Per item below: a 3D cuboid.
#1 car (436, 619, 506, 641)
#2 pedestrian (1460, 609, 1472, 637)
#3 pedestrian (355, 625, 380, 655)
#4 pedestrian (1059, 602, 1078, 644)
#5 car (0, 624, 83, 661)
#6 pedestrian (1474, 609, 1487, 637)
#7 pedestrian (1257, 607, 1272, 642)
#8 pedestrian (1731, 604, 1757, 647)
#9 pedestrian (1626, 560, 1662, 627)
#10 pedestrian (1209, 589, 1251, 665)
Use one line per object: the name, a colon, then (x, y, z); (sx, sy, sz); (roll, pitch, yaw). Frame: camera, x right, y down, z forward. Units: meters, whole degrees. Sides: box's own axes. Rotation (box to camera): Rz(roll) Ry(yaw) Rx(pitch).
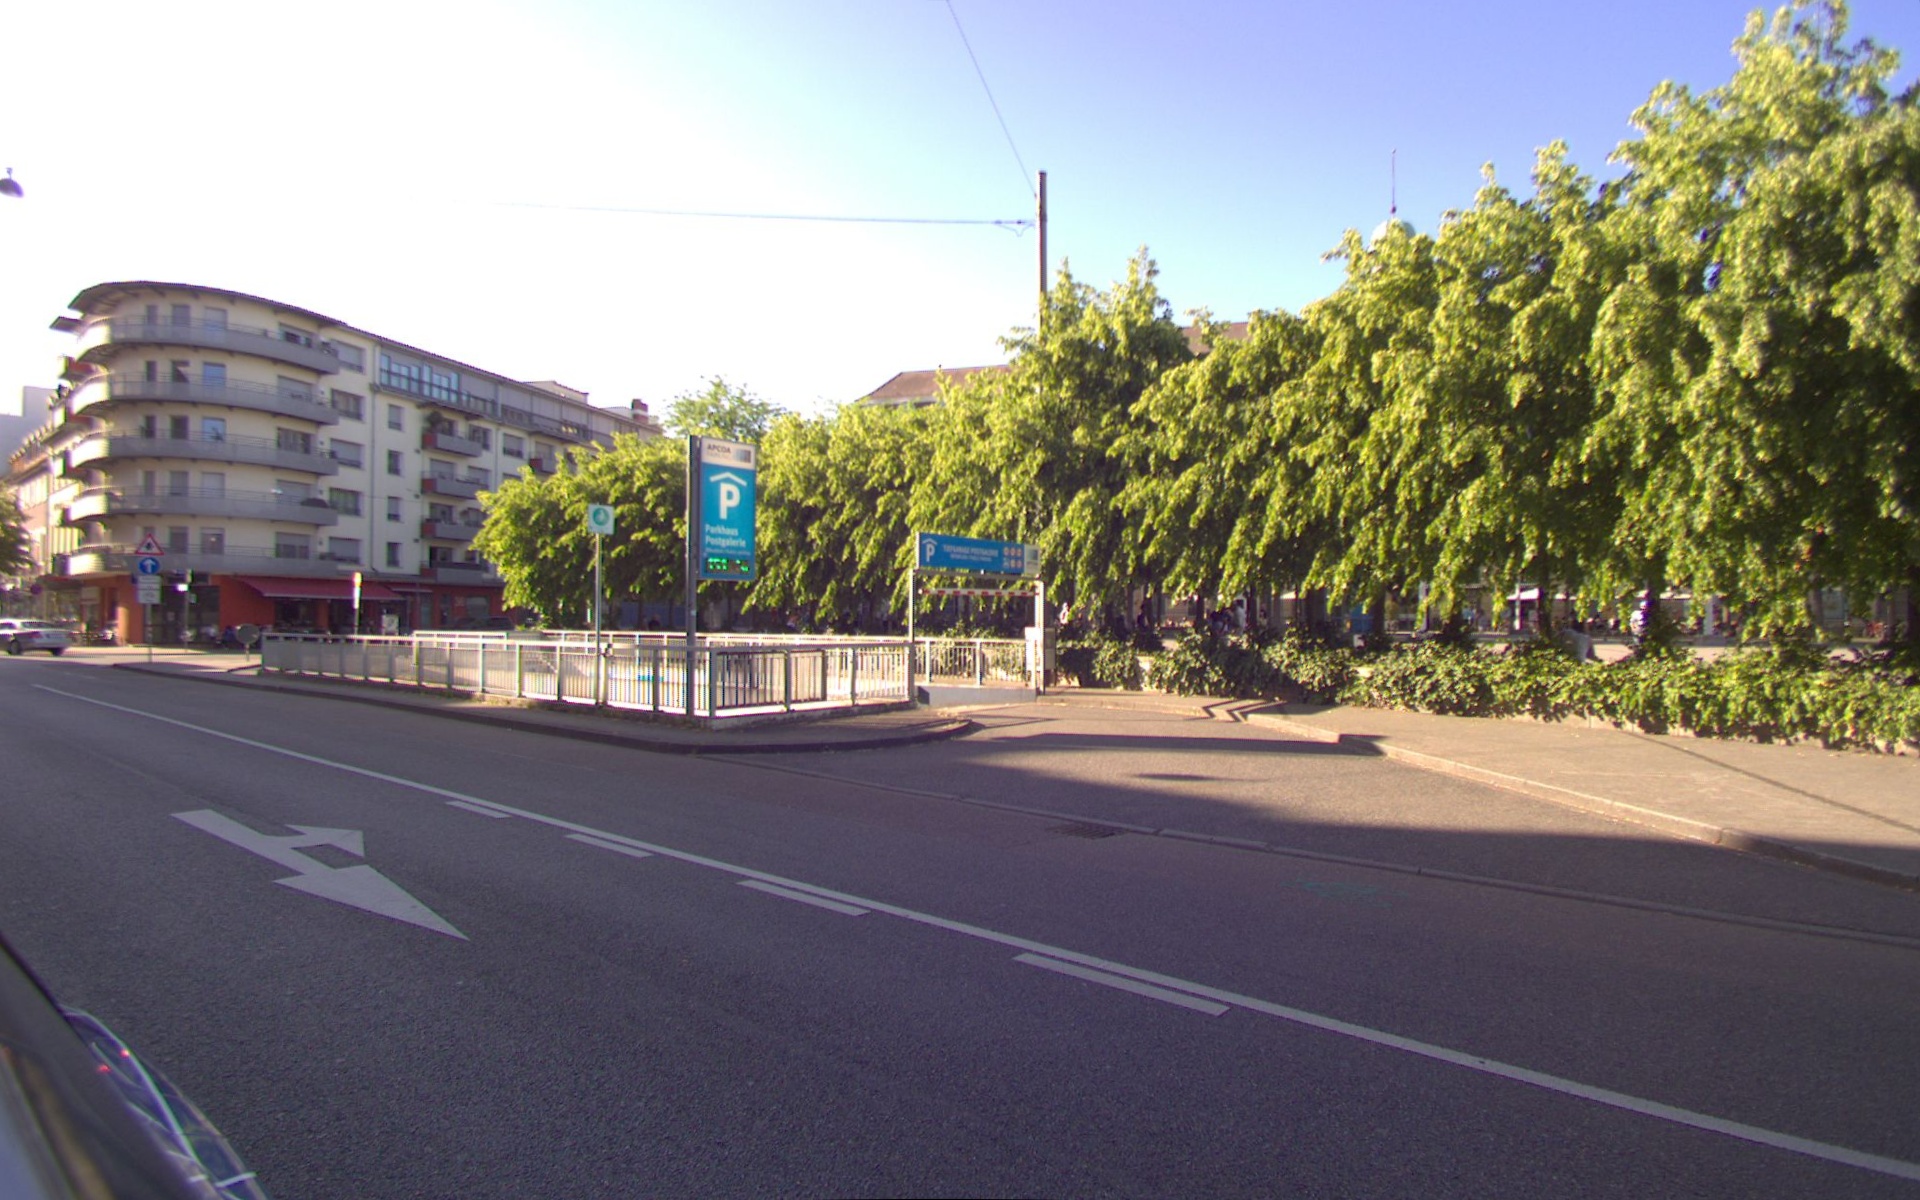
car: (-30.500, 1.879, 63.213); (1.742, 1.311, 3.977); (-1, -1, 17)
pedestrian: (32.011, 1.440, 63.982); (0.643, 1.734, 0.603); (-1, 0, 26)
pedestrian: (-32.599, 2.200, 55.678); (0.877, 1.607, 0.861); (-1, 0, 2)
pedestrian: (4.516, 0.958, 42.117); (0.604, 1.734, 0.642); (-1, 0, 21)
car: (-38.113, 1.688, 40.952); (4.223, 1.363, 1.817); (1, -2, 14)
pedestrian: (32.392, 1.410, 62.970); (0.643, 1.734, 0.603); (-1, 0, 26)
pedestrian: (15.356, 1.245, 51.015); (0.606, 1.734, 0.640); (-1, 0, 31)
pedestrian: (31.687, 1.032, 40.900); (0.641, 1.734, 0.605); (-1, 0, 18)
pedestrian: (17.994, -0.178, 26.621); (0.643, 1.734, 0.604); (-1, 0, 22)
pedestrian: (6.006, 0.588, 22.518); (0.645, 1.661, 0.626); (-1, 0, -35)
